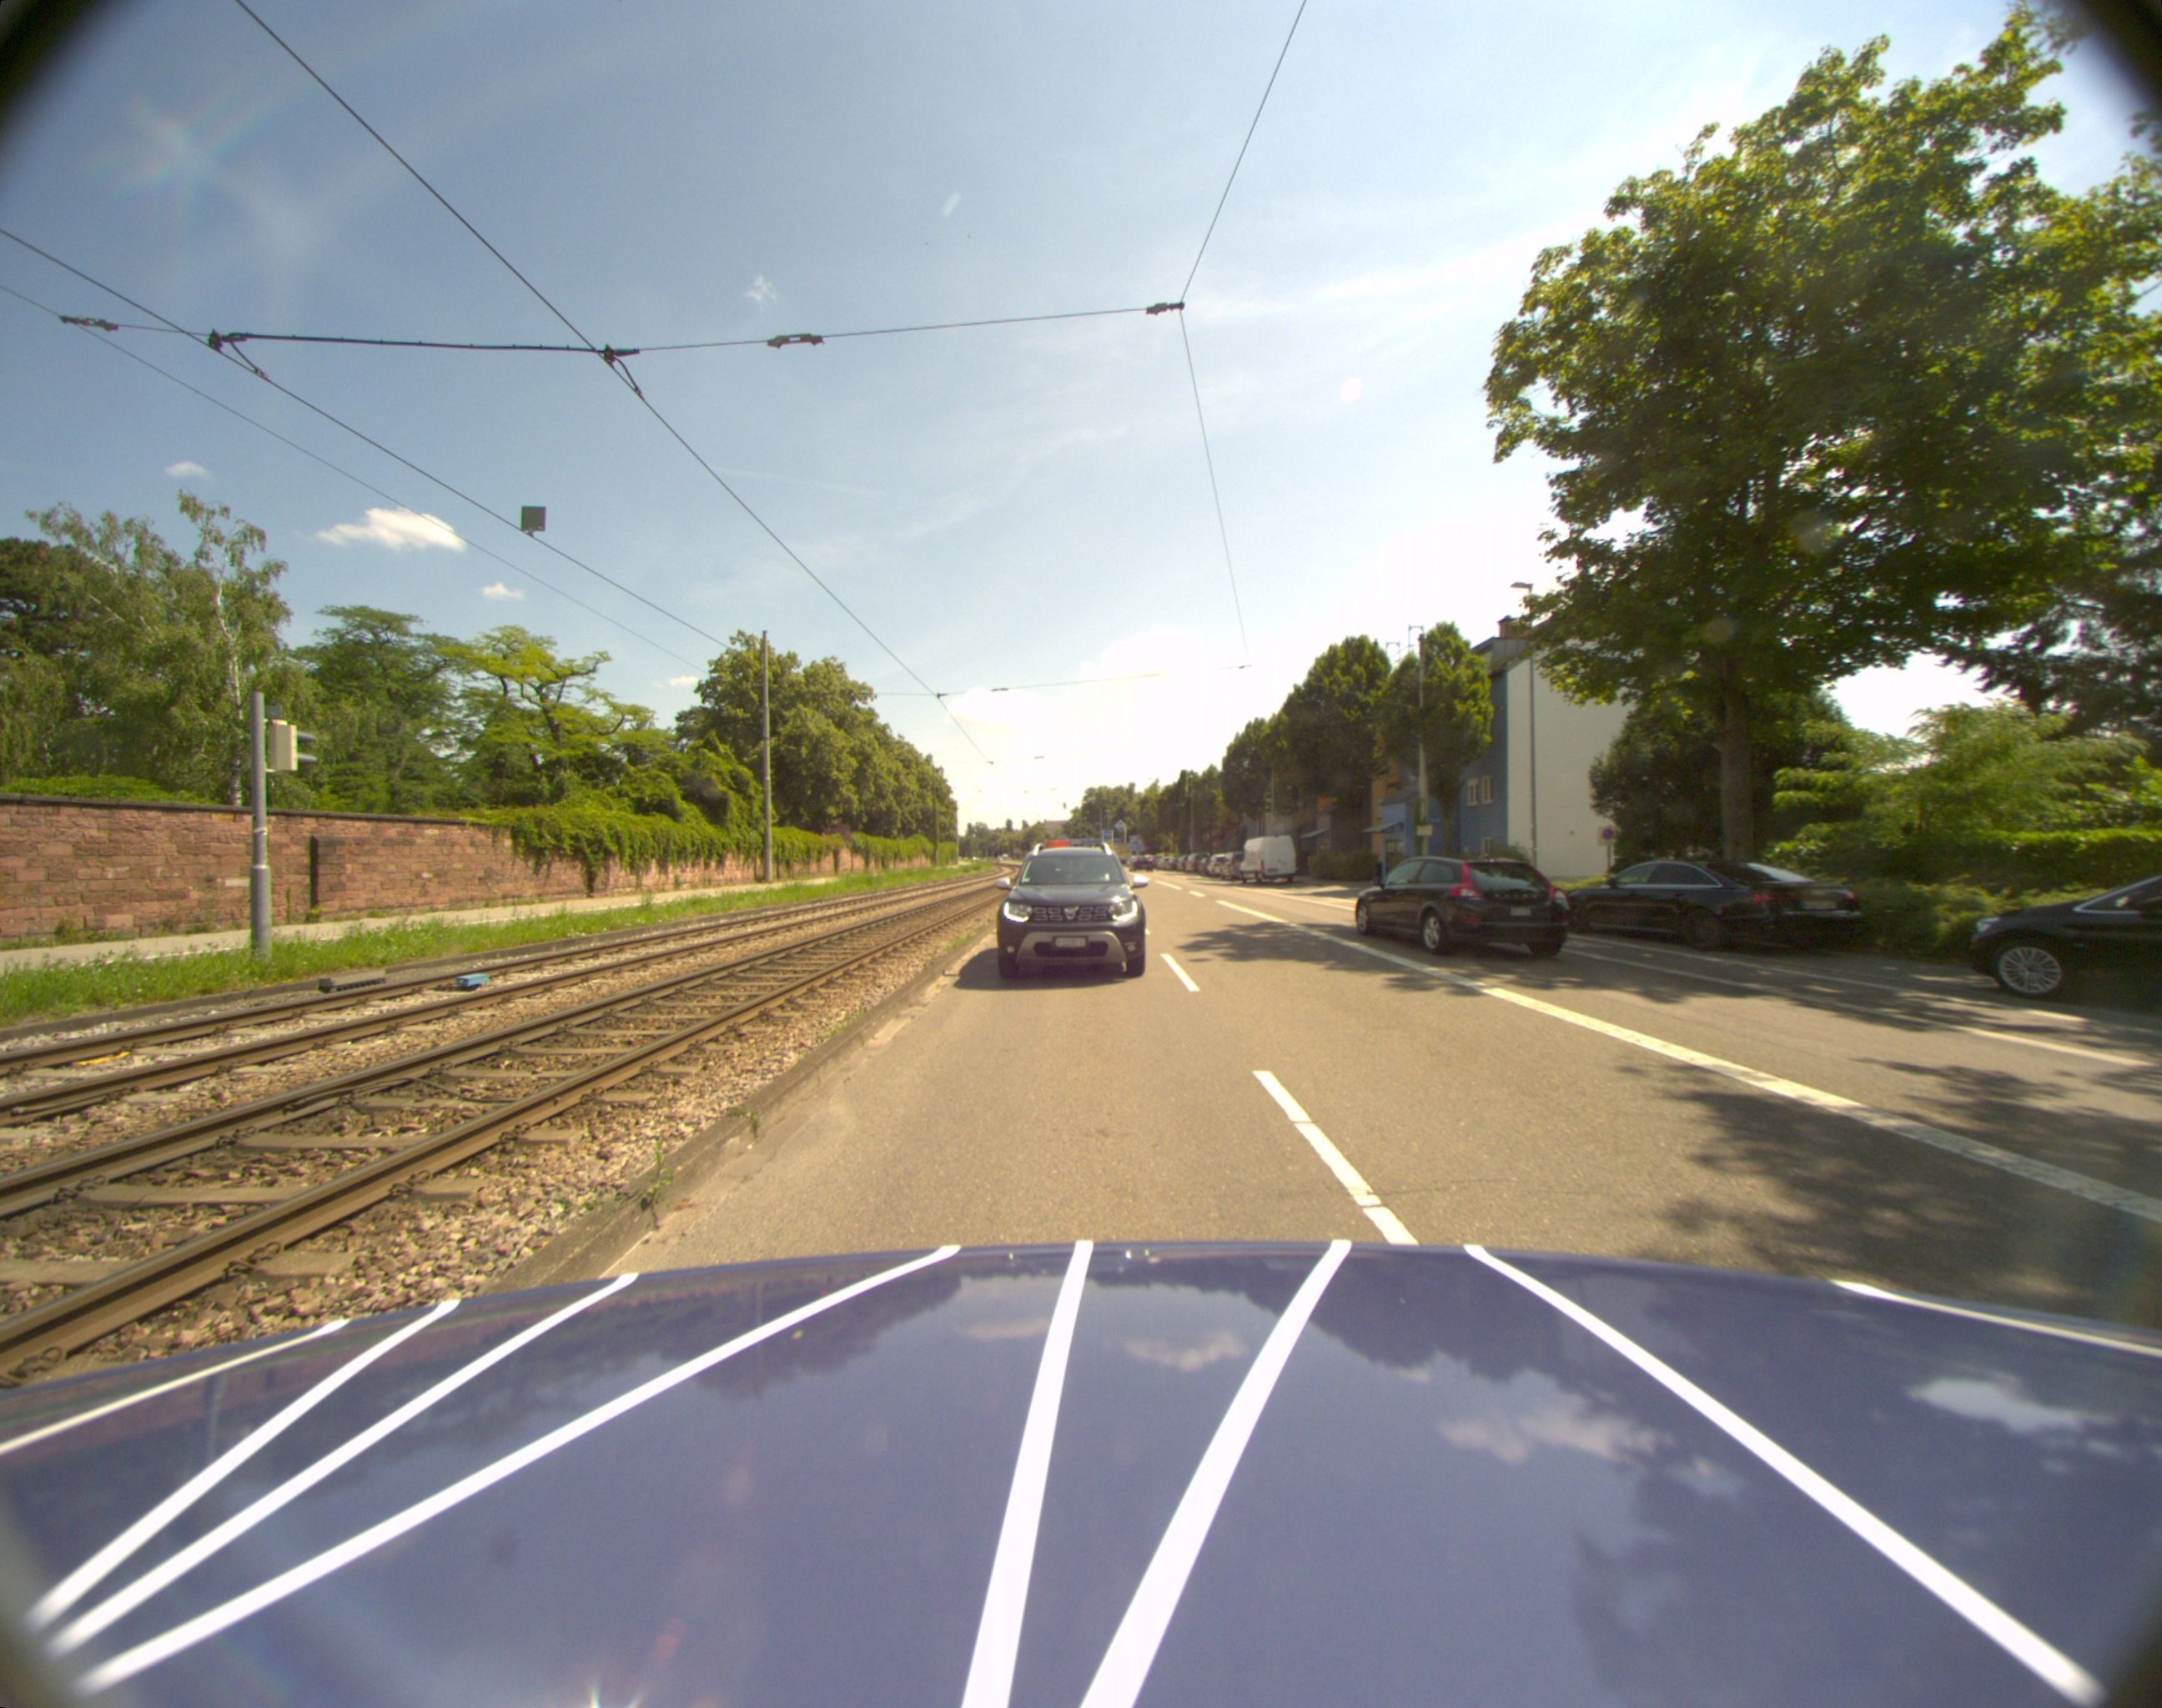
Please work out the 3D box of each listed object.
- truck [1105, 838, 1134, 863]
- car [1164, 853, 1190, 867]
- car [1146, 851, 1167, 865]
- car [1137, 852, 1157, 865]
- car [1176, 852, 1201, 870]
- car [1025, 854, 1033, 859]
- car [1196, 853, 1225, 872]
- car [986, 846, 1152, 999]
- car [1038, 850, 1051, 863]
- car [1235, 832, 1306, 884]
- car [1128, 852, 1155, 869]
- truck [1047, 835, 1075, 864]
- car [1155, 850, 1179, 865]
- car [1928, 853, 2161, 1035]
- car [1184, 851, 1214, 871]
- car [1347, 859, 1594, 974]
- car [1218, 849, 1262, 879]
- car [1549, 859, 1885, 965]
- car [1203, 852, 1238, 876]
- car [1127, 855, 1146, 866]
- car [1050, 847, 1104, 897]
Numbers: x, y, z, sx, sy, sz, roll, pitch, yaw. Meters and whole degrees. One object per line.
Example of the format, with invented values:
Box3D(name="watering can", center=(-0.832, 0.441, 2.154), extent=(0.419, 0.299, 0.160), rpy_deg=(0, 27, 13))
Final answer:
Box3D(name="truck", center=(5.926, -0.500, 117.859), extent=(2.840, 3.528, 8.164), rpy_deg=(-3, 0, -8))
Box3D(name="car", center=(10.099, 0.605, 80.294), extent=(1.746, 1.438, 4.962), rpy_deg=(-2, 0, -4))
Box3D(name="car", center=(9.085, 0.469, 91.815), extent=(1.660, 1.600, 4.685), rpy_deg=(-3, 0, -5))
Box3D(name="car", center=(8.496, 0.549, 97.752), extent=(1.661, 1.600, 4.170), rpy_deg=(-1, 0, -8))
Box3D(name="car", center=(10.481, 0.656, 74.189), extent=(1.660, 1.608, 4.283), rpy_deg=(0, 1, -3))
Box3D(name="car", center=(-16.003, 0.711, 234.191), extent=(2.000, 1.379, 3.997), rpy_deg=(0, 0, -7))
Box3D(name="car", center=(10.800, 0.689, 63.534), extent=(1.603, 1.462, 4.086), rpy_deg=(-1, 0, -3))
Box3D(name="car", center=(-0.149, 0.759, 10.797), extent=(1.801, 1.652, 4.787), rpy_deg=(-1, 0, 0))
Box3D(name="car", center=(-6.181, 0.424, 127.563), extent=(1.999, 2.002, 3.998), rpy_deg=(-1, 1, -4))
Box3D(name="car", center=(10.948, 0.241, 44.533), extent=(2.329, 2.635, 7.035), rpy_deg=(-4, 0, 1))
Box3D(name="car", center=(5.395, 0.552, 68.224), extent=(1.780, 1.451, 4.192), rpy_deg=(1, 0, -5))
Box3D(name="truck", center=(-2.713, -0.565, 98.755), extent=(2.847, 3.574, 8.700), rpy_deg=(-1, 1, -6))
Box3D(name="car", center=(9.697, 0.405, 86.309), extent=(1.660, 1.499, 4.893), rpy_deg=(-3, 1, -6))
Box3D(name="car", center=(10.617, 0.811, 6.383), extent=(1.779, 1.595, 4.636), rpy_deg=(-2, 0, -1))
Box3D(name="car", center=(10.636, 0.595, 68.740), extent=(1.756, 1.706, 4.886), rpy_deg=(0, 0, -3))
Box3D(name="car", center=(5.736, 0.823, 11.816), extent=(1.682, 1.390, 4.005), rpy_deg=(2, 0, -1))
Box3D(name="car", center=(10.882, 0.646, 52.386), extent=(1.811, 1.884, 5.362), rpy_deg=(-3, 0, 0))
Box3D(name="car", center=(10.574, 0.844, 13.253), extent=(1.779, 1.447, 4.803), rpy_deg=(-1, 0, -1))
Box3D(name="car", center=(10.673, 0.721, 58.399), extent=(1.721, 1.742, 4.903), rpy_deg=(-1, 0, -1))
Box3D(name="car", center=(7.727, 0.892, 105.899), extent=(1.661, 1.402, 4.394), rpy_deg=(0, 0, -8))
Box3D(name="car", center=(-0.162, 0.621, 28.444), extent=(1.801, 1.683, 4.144), rpy_deg=(-2, 1, -1))
